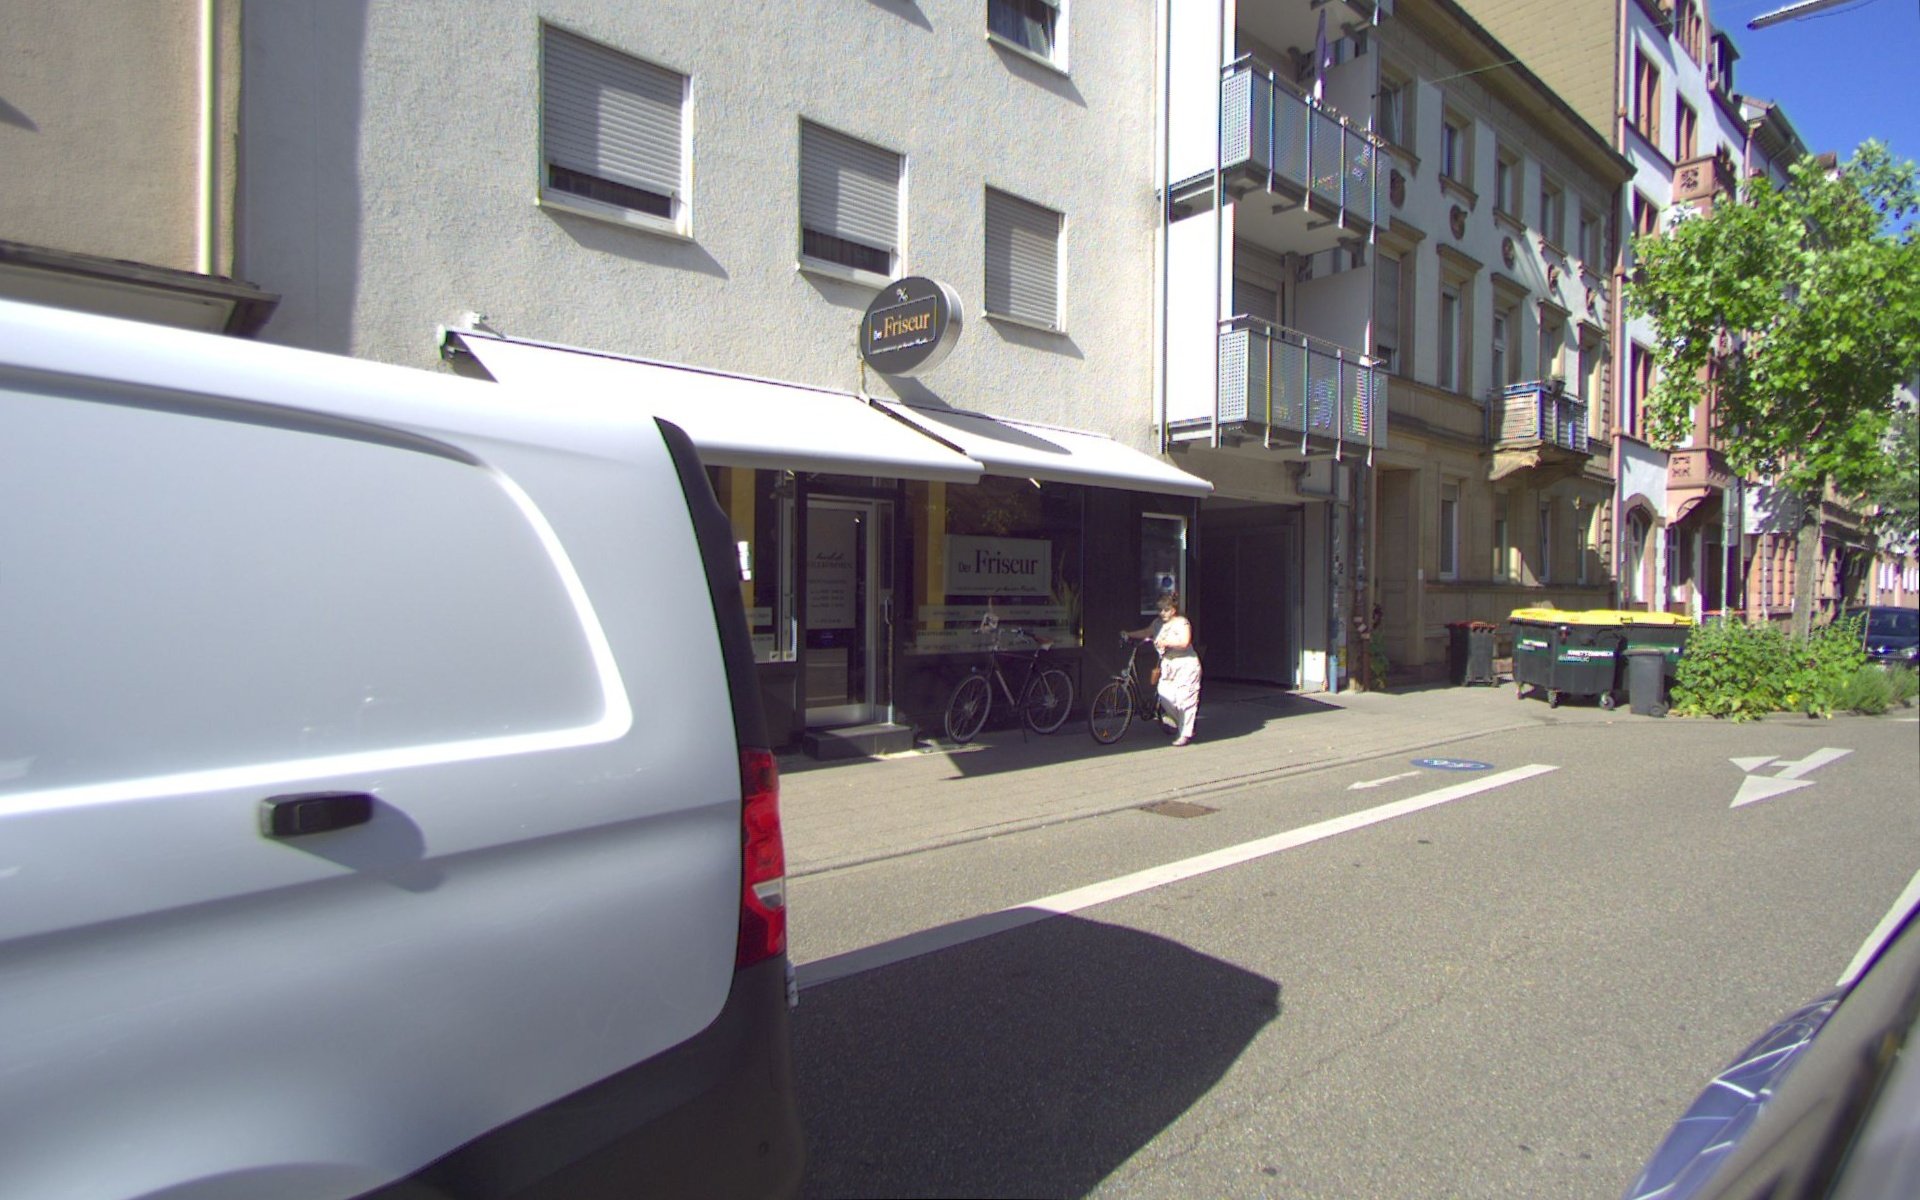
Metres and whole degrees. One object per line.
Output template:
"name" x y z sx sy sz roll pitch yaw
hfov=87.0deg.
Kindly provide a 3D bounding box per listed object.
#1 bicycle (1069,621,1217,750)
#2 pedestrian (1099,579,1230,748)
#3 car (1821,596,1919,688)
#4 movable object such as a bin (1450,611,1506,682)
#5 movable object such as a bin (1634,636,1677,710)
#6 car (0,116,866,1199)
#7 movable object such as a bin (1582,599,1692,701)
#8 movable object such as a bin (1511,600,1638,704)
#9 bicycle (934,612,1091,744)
"bicycle" 1.883 0.820 10.232 1.760 1.146 0.402 0 4 -41
"pedestrian" 2.057 0.596 10.201 0.930 1.556 0.825 0 4 -41
"car" 16.785 0.691 18.174 3.293 1.510 1.550 0 1 -41
"movable object such as a bin" 8.480 0.755 16.583 0.557 1.094 0.617 1 3 1
"movable object such as a bin" 9.519 0.985 13.846 0.399 0.933 0.478 3 3 41
"car" -2.590 0.438 0.819 4.911 1.892 1.839 0 1 -43
"movable object such as a bin" 9.907 0.700 14.860 0.943 1.365 1.066 1 3 11
"movable object such as a bin" 8.790 0.714 14.537 1.030 1.341 1.216 1 3 1
"bicycle" 0.552 0.730 10.062 1.760 1.193 0.402 0 0 -41
